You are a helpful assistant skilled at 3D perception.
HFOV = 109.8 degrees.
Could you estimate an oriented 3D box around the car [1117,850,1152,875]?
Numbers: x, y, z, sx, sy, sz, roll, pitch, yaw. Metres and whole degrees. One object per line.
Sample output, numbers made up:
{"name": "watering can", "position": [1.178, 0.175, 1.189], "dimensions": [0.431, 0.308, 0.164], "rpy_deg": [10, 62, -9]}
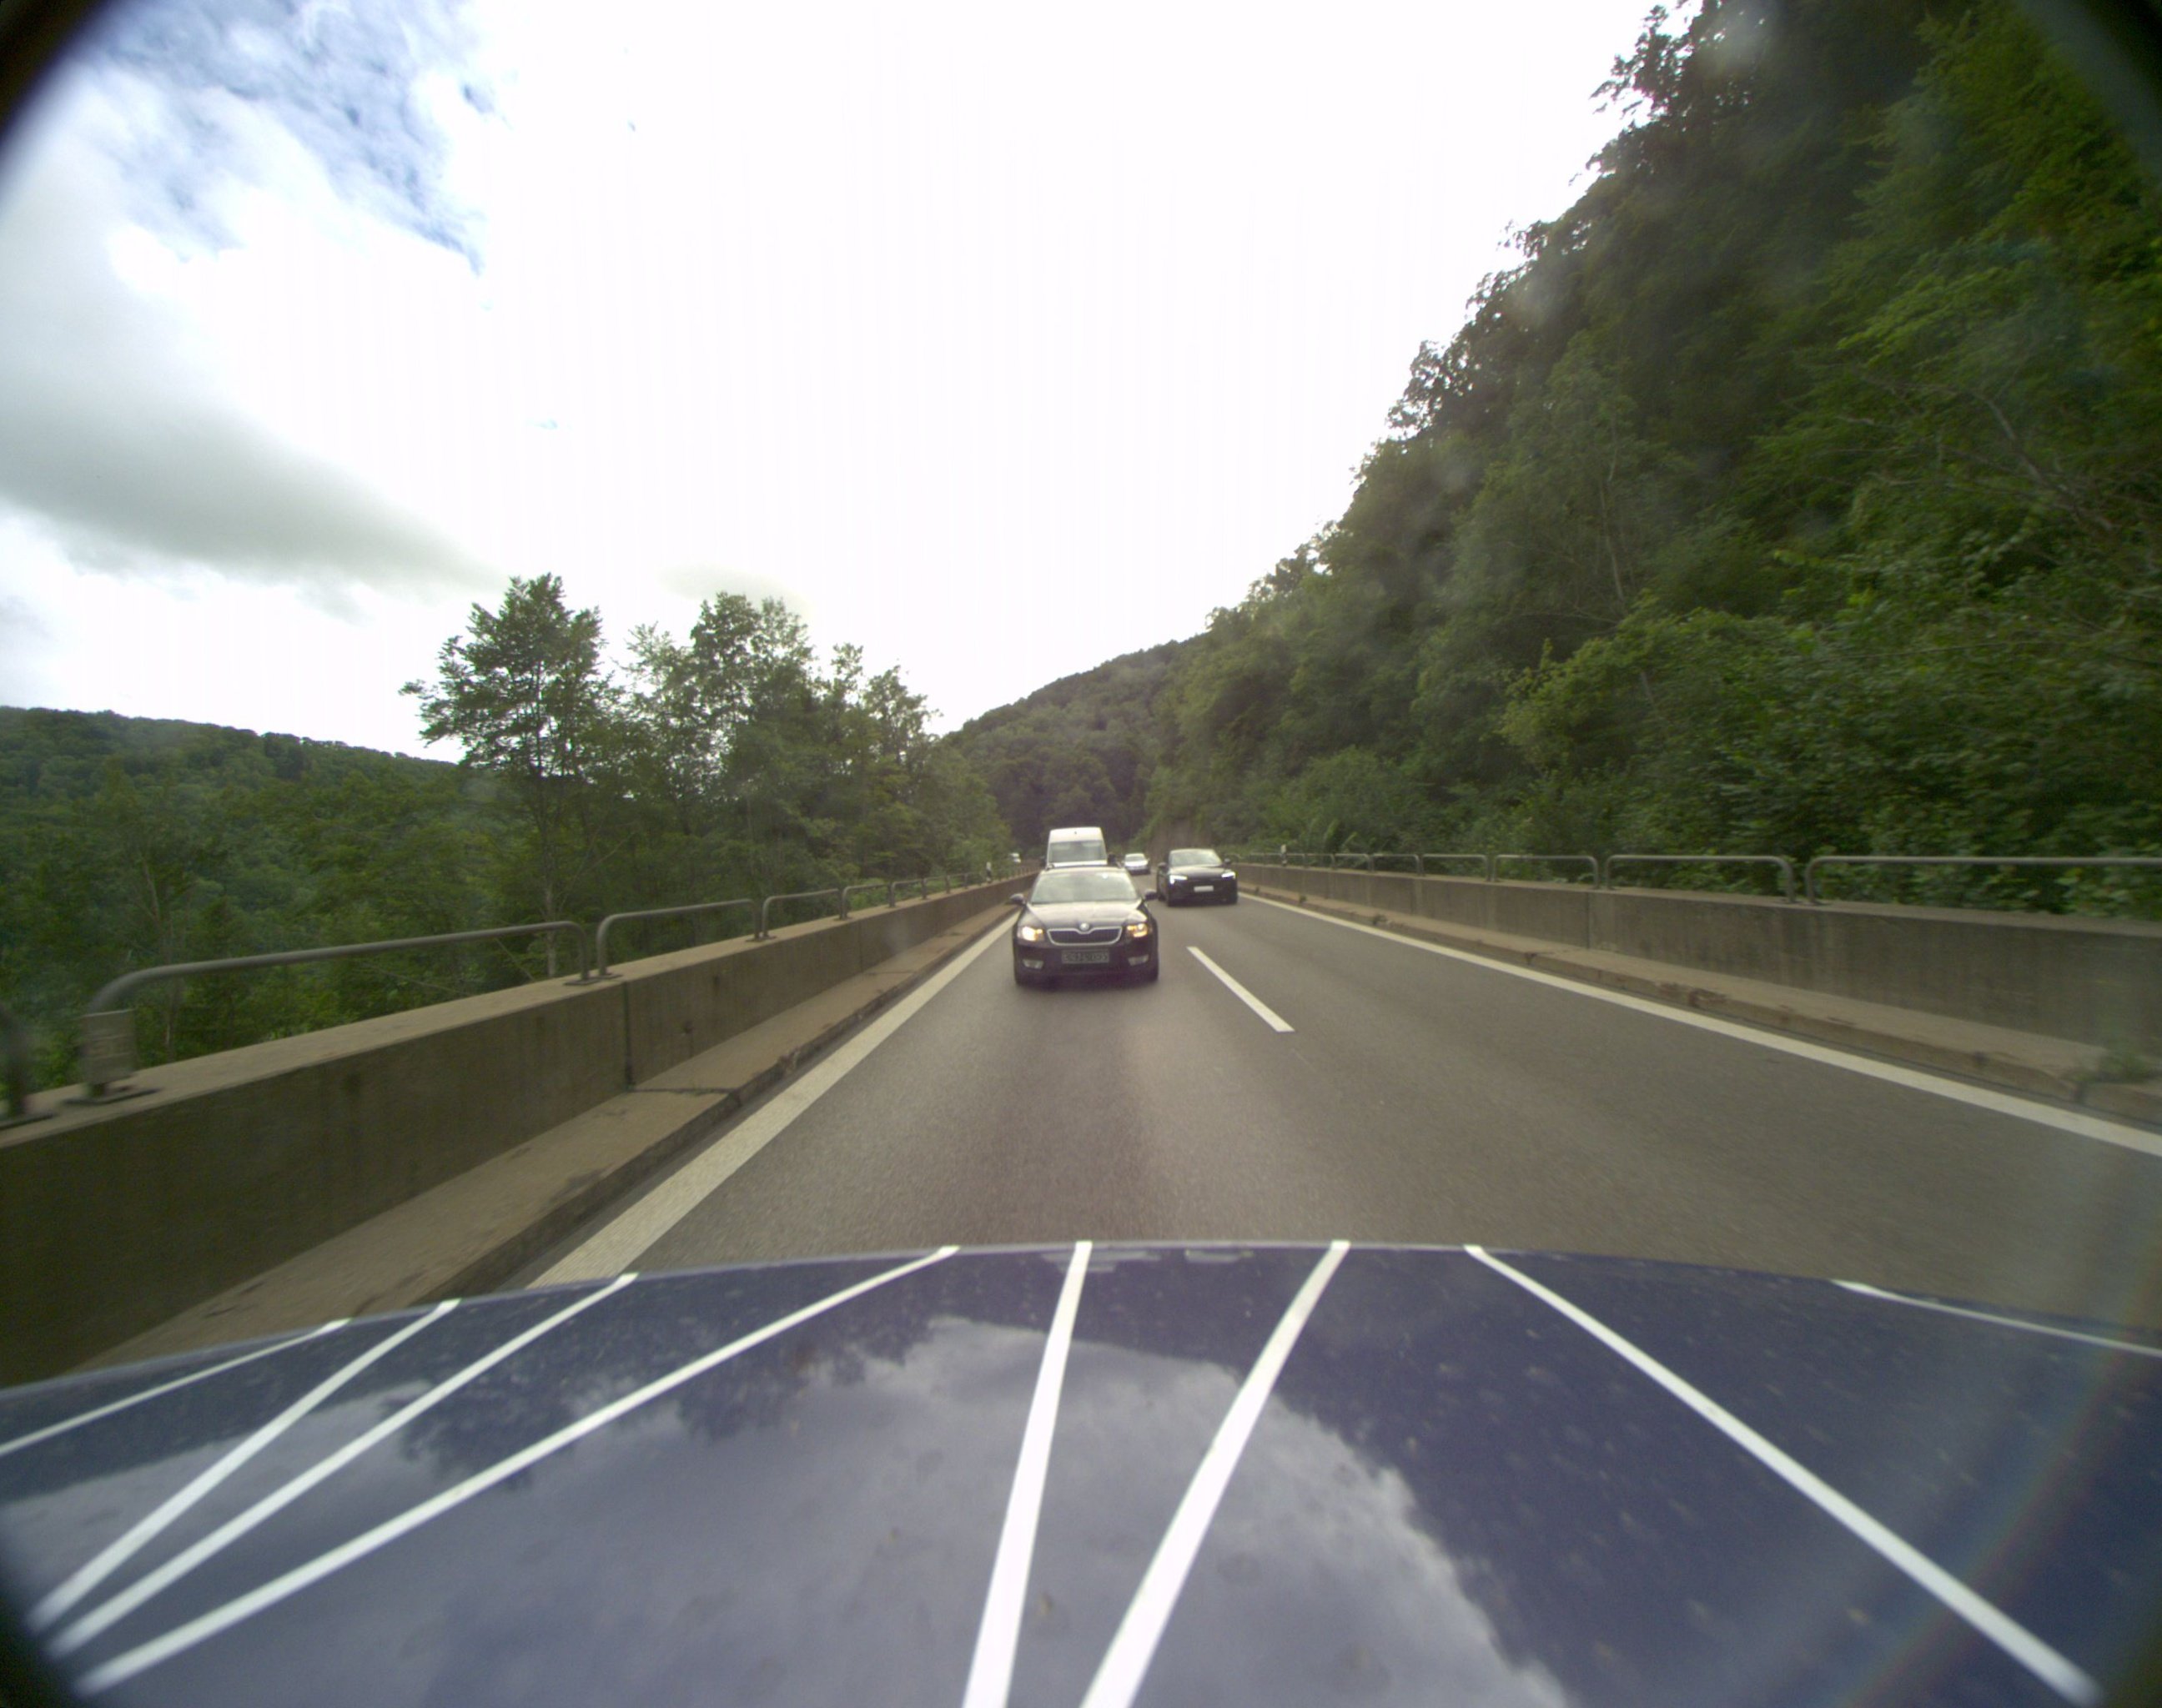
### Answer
{"name": "car", "position": [3.629, 0.567, 52.180], "dimensions": [1.686, 1.506, 4.581], "rpy_deg": [-6, 1, -3]}

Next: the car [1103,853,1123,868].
{"name": "car", "position": [3.643, 0.725, 88.023], "dimensions": [1.813, 1.646, 4.581], "rpy_deg": [-3, 1, -2]}

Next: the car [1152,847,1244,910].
{"name": "car", "position": [3.366, 0.651, 22.904], "dimensions": [1.998, 1.622, 5.008], "rpy_deg": [-2, 0, 1]}

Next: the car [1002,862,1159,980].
{"name": "car", "position": [0.031, 0.901, 12.476], "dimensions": [1.998, 1.389, 5.008], "rpy_deg": [-3, 0, 1]}

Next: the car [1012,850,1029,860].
{"name": "car", "position": [-13.239, 0.278, 165.615], "dimensions": [2.003, 2.002, 3.991], "rpy_deg": [-6, 2, -33]}

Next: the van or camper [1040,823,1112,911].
{"name": "van or camper", "position": [-0.127, 0.402, 25.960], "dimensions": [2.081, 2.575, 5.912], "rpy_deg": [-2, 0, 0]}

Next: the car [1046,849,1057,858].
{"name": "car", "position": [-5.720, -0.121, 147.331], "dimensions": [1.814, 1.646, 4.579], "rpy_deg": [1, 0, -8]}
